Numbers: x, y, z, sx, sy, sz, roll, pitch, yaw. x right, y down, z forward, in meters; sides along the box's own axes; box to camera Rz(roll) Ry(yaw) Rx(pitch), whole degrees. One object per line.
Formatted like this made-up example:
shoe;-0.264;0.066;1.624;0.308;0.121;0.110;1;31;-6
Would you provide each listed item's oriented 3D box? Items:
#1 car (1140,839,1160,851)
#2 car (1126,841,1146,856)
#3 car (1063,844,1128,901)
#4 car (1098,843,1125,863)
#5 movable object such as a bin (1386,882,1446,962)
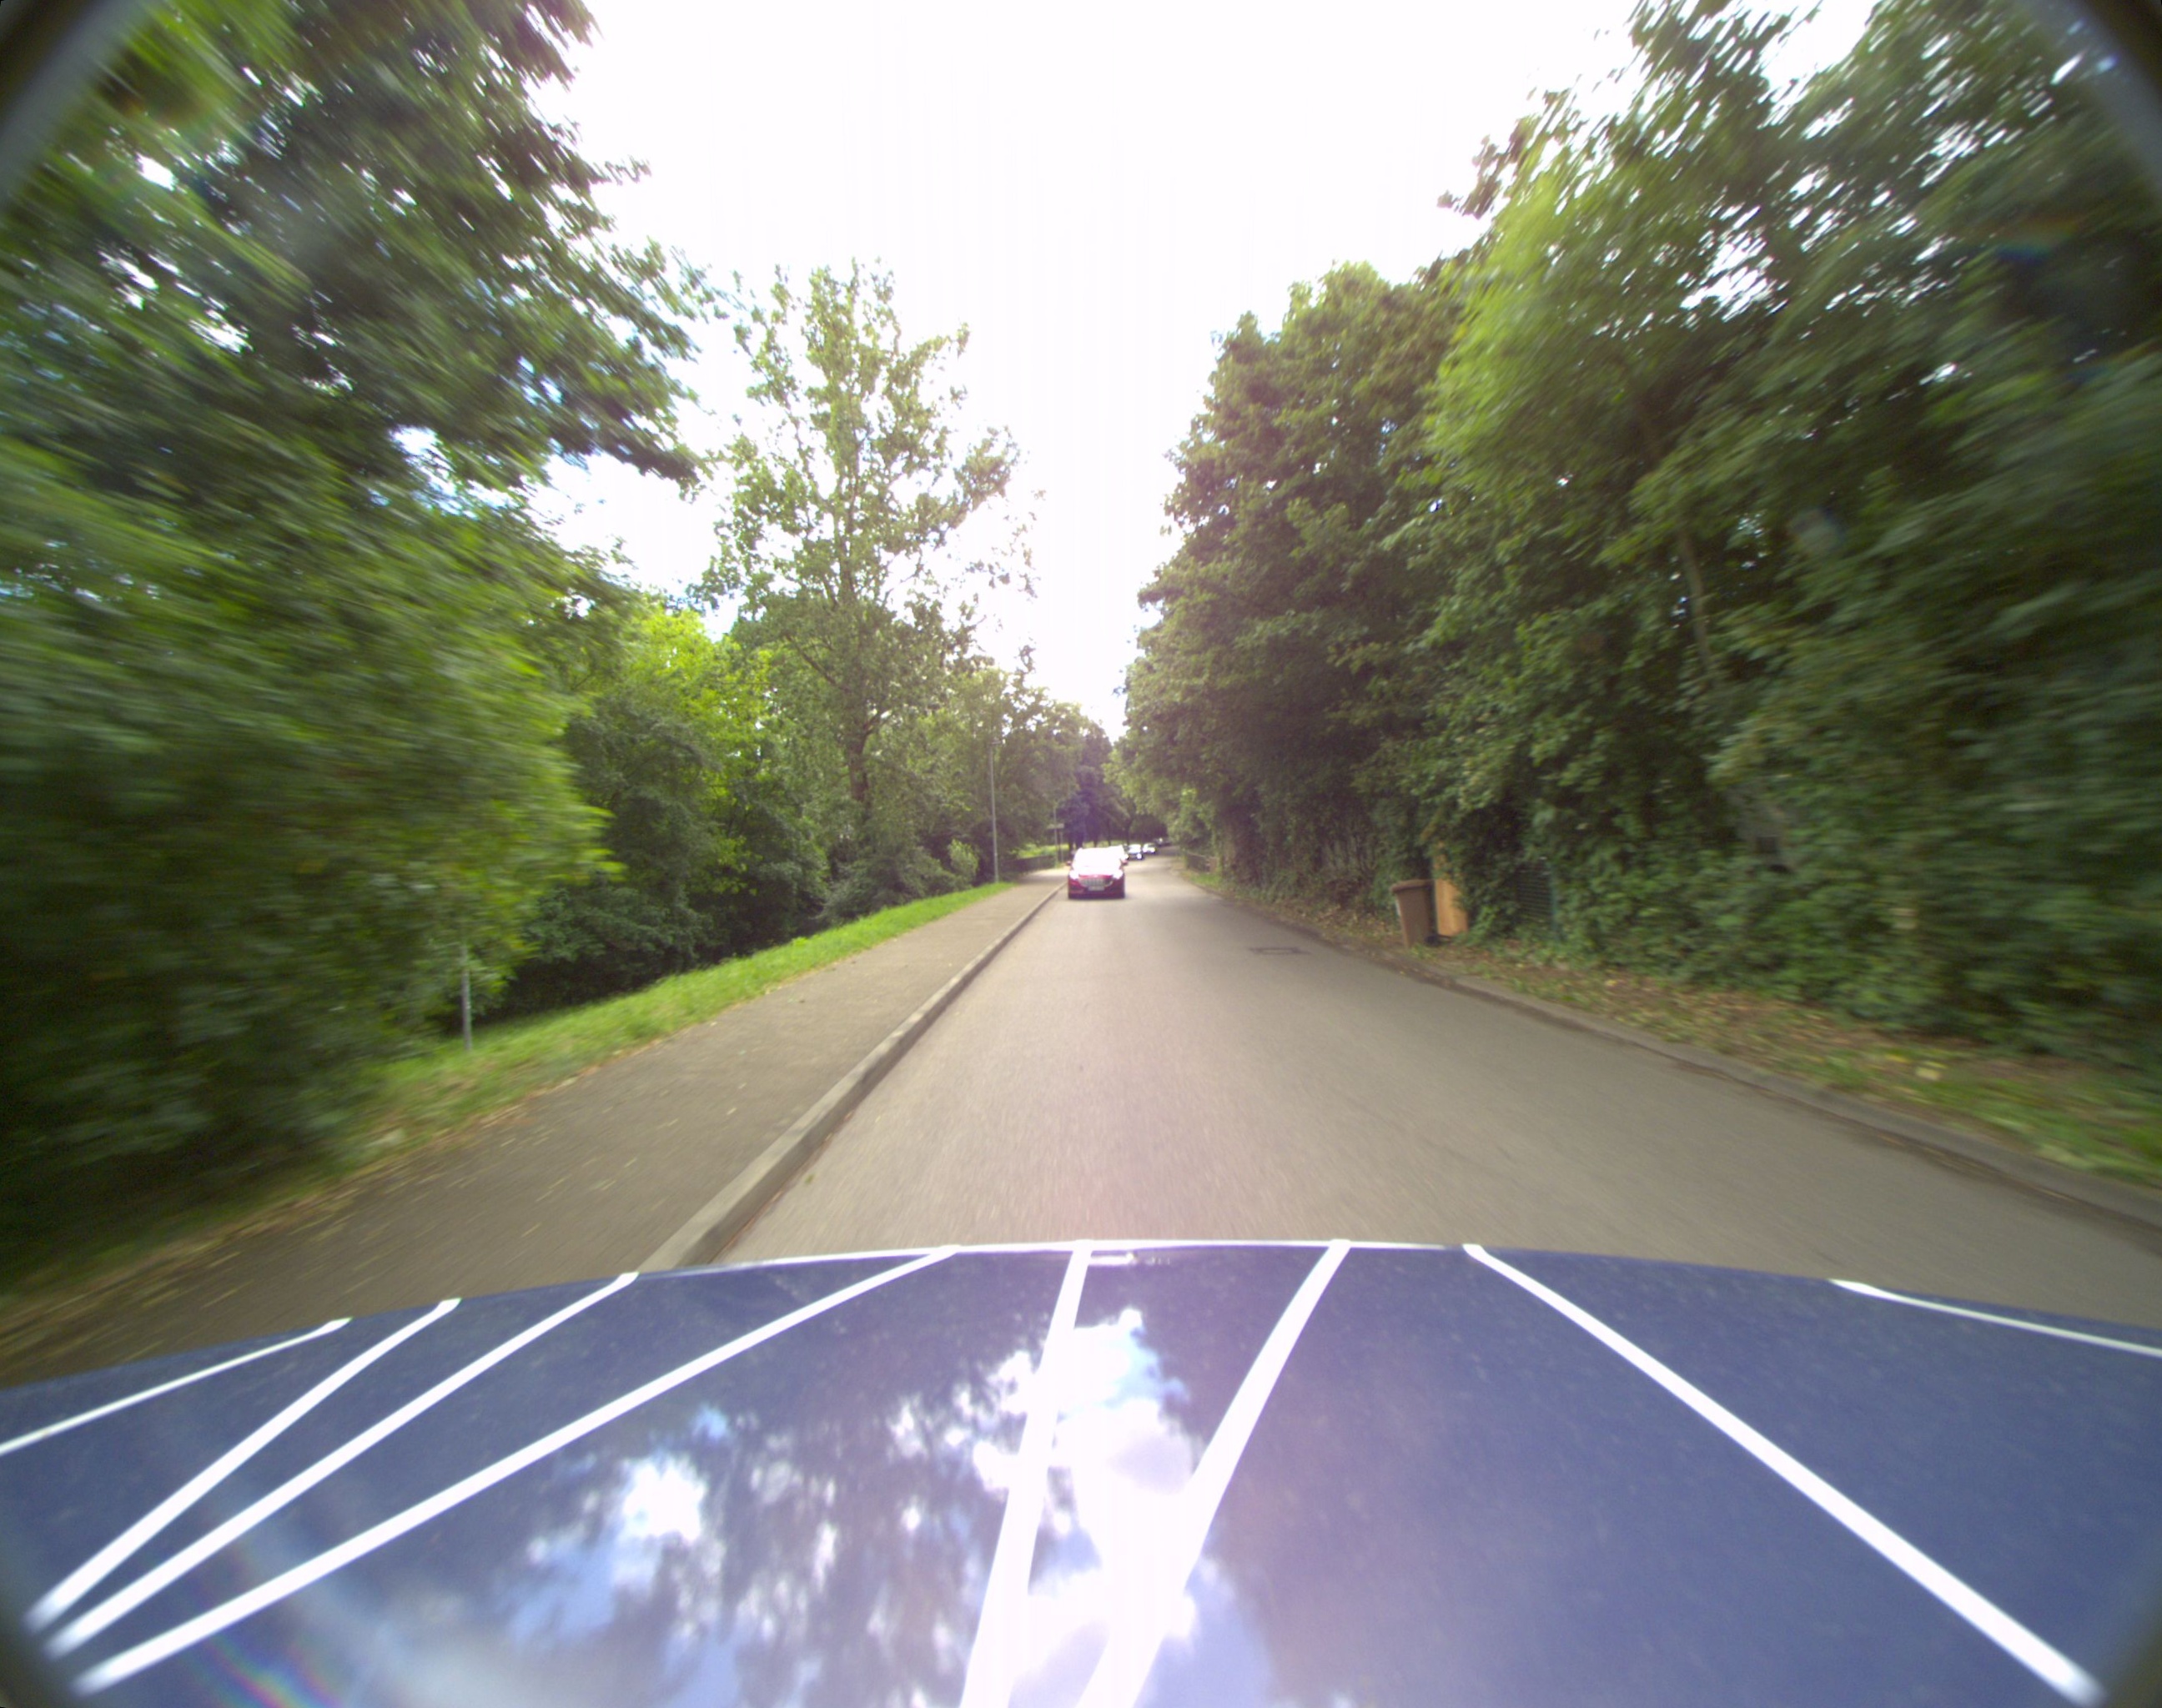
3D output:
car;8.787;-1.155;96.181;1.996;1.521;4.003;-1;1;13
car;5.785;-0.582;79.604;1.998;1.521;4.001;-2;1;6
car;0.559;0.541;25.128;1.816;1.717;4.001;-1;1;6
car;2.582;-0.132;64.137;1.998;1.521;4.001;-2;1;6
movable object such as a bin;4.531;0.904;10.307;0.649;1.007;0.632;-1;1;16
